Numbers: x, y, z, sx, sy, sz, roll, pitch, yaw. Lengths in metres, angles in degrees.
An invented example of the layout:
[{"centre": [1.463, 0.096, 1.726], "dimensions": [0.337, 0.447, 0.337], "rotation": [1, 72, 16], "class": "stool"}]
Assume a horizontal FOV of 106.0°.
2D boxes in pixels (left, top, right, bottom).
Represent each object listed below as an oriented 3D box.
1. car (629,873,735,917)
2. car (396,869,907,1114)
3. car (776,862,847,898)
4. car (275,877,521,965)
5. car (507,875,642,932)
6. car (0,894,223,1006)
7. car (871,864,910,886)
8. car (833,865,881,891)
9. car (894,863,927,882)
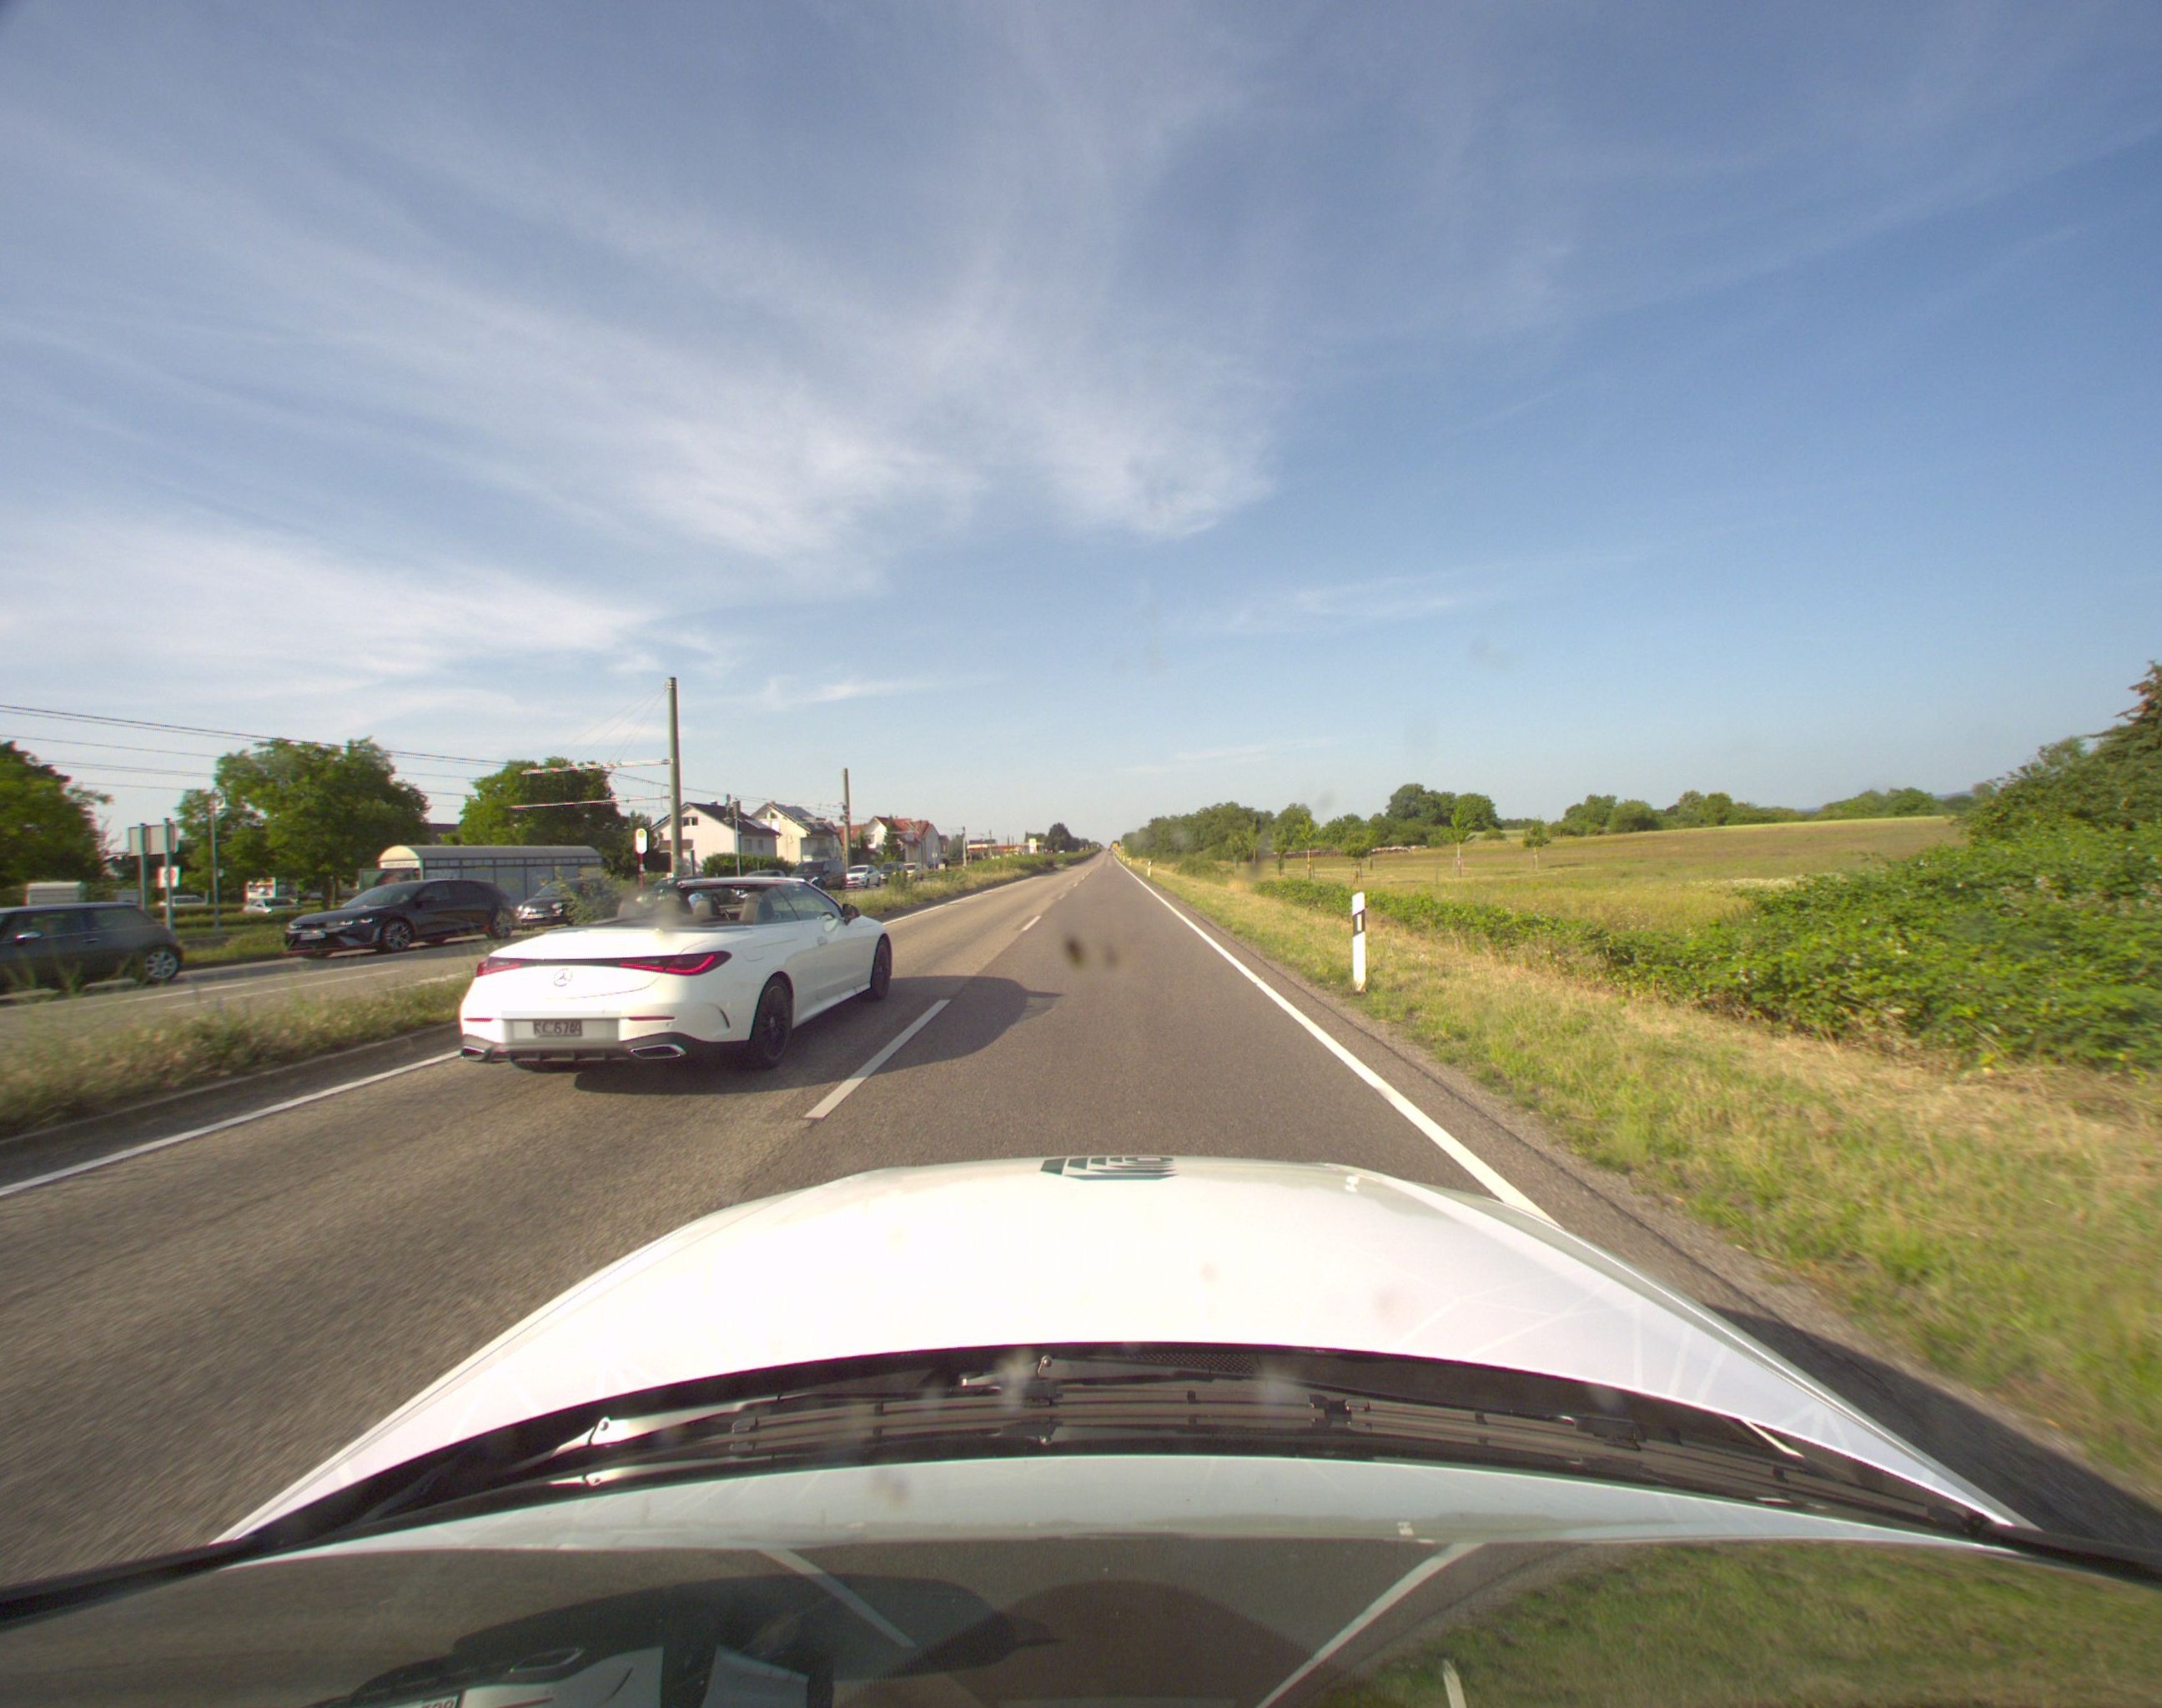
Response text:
[{"centre": [-15.581, 1.552, 32.116], "dimensions": [1.654, 1.431, 4.719], "rotation": [-4, 0, 2], "class": "car"}, {"centre": [-3.056, 0.857, 7.253], "dimensions": [1.764, 1.337, 4.953], "rotation": [0, 0, 2], "class": "car"}, {"centre": [-14.693, 1.373, 44.782], "dimensions": [1.908, 1.683, 5.256], "rotation": [-4, 0, 2], "class": "car"}, {"centre": [-15.401, 1.417, 18.782], "dimensions": [1.654, 1.562, 4.547], "rotation": [-4, 0, 2], "class": "car"}, {"centre": [-15.711, 1.488, 25.503], "dimensions": [1.654, 1.431, 3.806], "rotation": [-4, 0, 2], "class": "car"}, {"centre": [-16.037, 1.473, 12.456], "dimensions": [1.654, 1.431, 3.806], "rotation": [-4, 0, 2], "class": "car"}, {"centre": [-14.169, 1.571, 60.712], "dimensions": [1.654, 1.431, 4.328], "rotation": [-4, 0, 2], "class": "car"}, {"centre": [-14.336, 1.479, 52.303], "dimensions": [1.654, 1.431, 4.450], "rotation": [-4, 0, 2], "class": "car"}, {"centre": [-14.261, 1.529, 68.395], "dimensions": [1.654, 1.431, 4.328], "rotation": [-4, 0, 2], "class": "car"}]
